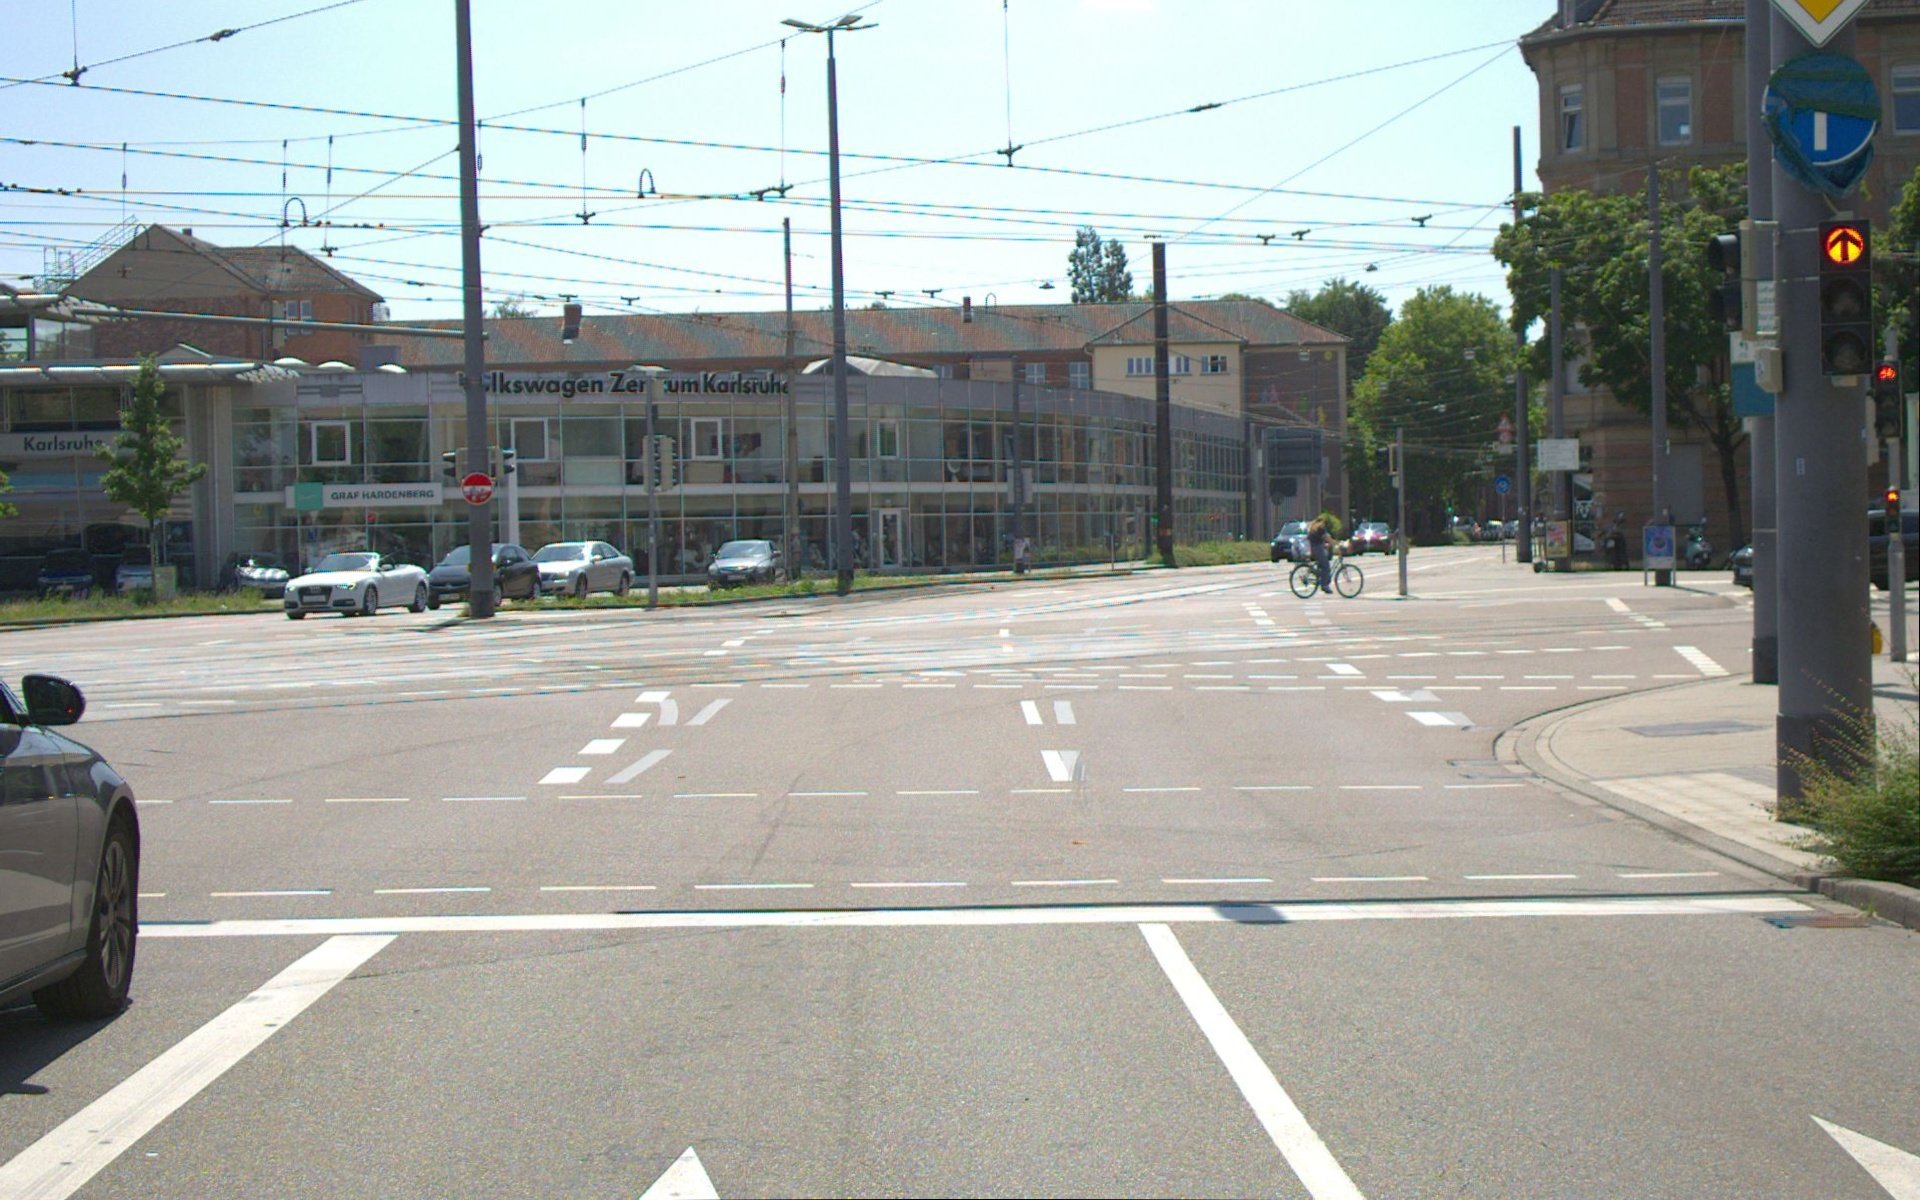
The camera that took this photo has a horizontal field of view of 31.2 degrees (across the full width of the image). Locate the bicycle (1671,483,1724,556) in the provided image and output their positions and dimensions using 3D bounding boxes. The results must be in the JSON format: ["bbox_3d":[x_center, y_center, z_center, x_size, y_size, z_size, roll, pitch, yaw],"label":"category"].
[{"bbox_3d":[19.092,-2.106,89.044,0.612,1.782,3.182,0,3,-1],"label":"bicycle"}]

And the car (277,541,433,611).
[{"bbox_3d":[-12.789,-0.517,72.874,1.620,1.385,4.121,-1,1,15],"label":"car"}]

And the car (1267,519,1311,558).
[{"bbox_3d":[13.467,-2.537,140.453,1.531,1.454,3.551,0,3,10],"label":"car"}]

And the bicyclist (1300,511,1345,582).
[{"bbox_3d":[7.680,-1.141,72.864,0.731,1.474,0.656,-1,3,-20],"label":"bicyclist"}]

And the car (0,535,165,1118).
[{"bbox_3d":[-3.423,0.618,9.072,1.716,1.551,4.587,-1,1,-2],"label":"car"}]

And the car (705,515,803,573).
[{"bbox_3d":[-5.606,-1.547,93.768,1.572,1.422,3.611,1,3,16],"label":"car"}]

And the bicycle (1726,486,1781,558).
[{"bbox_3d":[20.528,-2.036,88.994,0.612,1.782,3.182,0,3,-1],"label":"bicycle"}]

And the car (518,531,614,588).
[{"bbox_3d":[-9.713,-1.018,84.927,1.432,1.281,3.260,0,3,11],"label":"car"}]

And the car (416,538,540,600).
[{"bbox_3d":[-11.023,-0.730,78.831,1.539,1.273,3.537,1,3,15],"label":"car"}]

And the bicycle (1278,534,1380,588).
[{"bbox_3d":[7.833,-0.835,72.931,2.160,1.103,0.457,-1,3,-19],"label":"bicycle"}]

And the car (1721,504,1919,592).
[{"bbox_3d":[15.867,-0.949,61.549,4.100,1.446,1.698,-1,3,-21],"label":"car"}]

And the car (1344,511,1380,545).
[{"bbox_3d":[19.144,-3.438,163.818,1.586,1.523,3.715,0,3,8],"label":"car"}]
